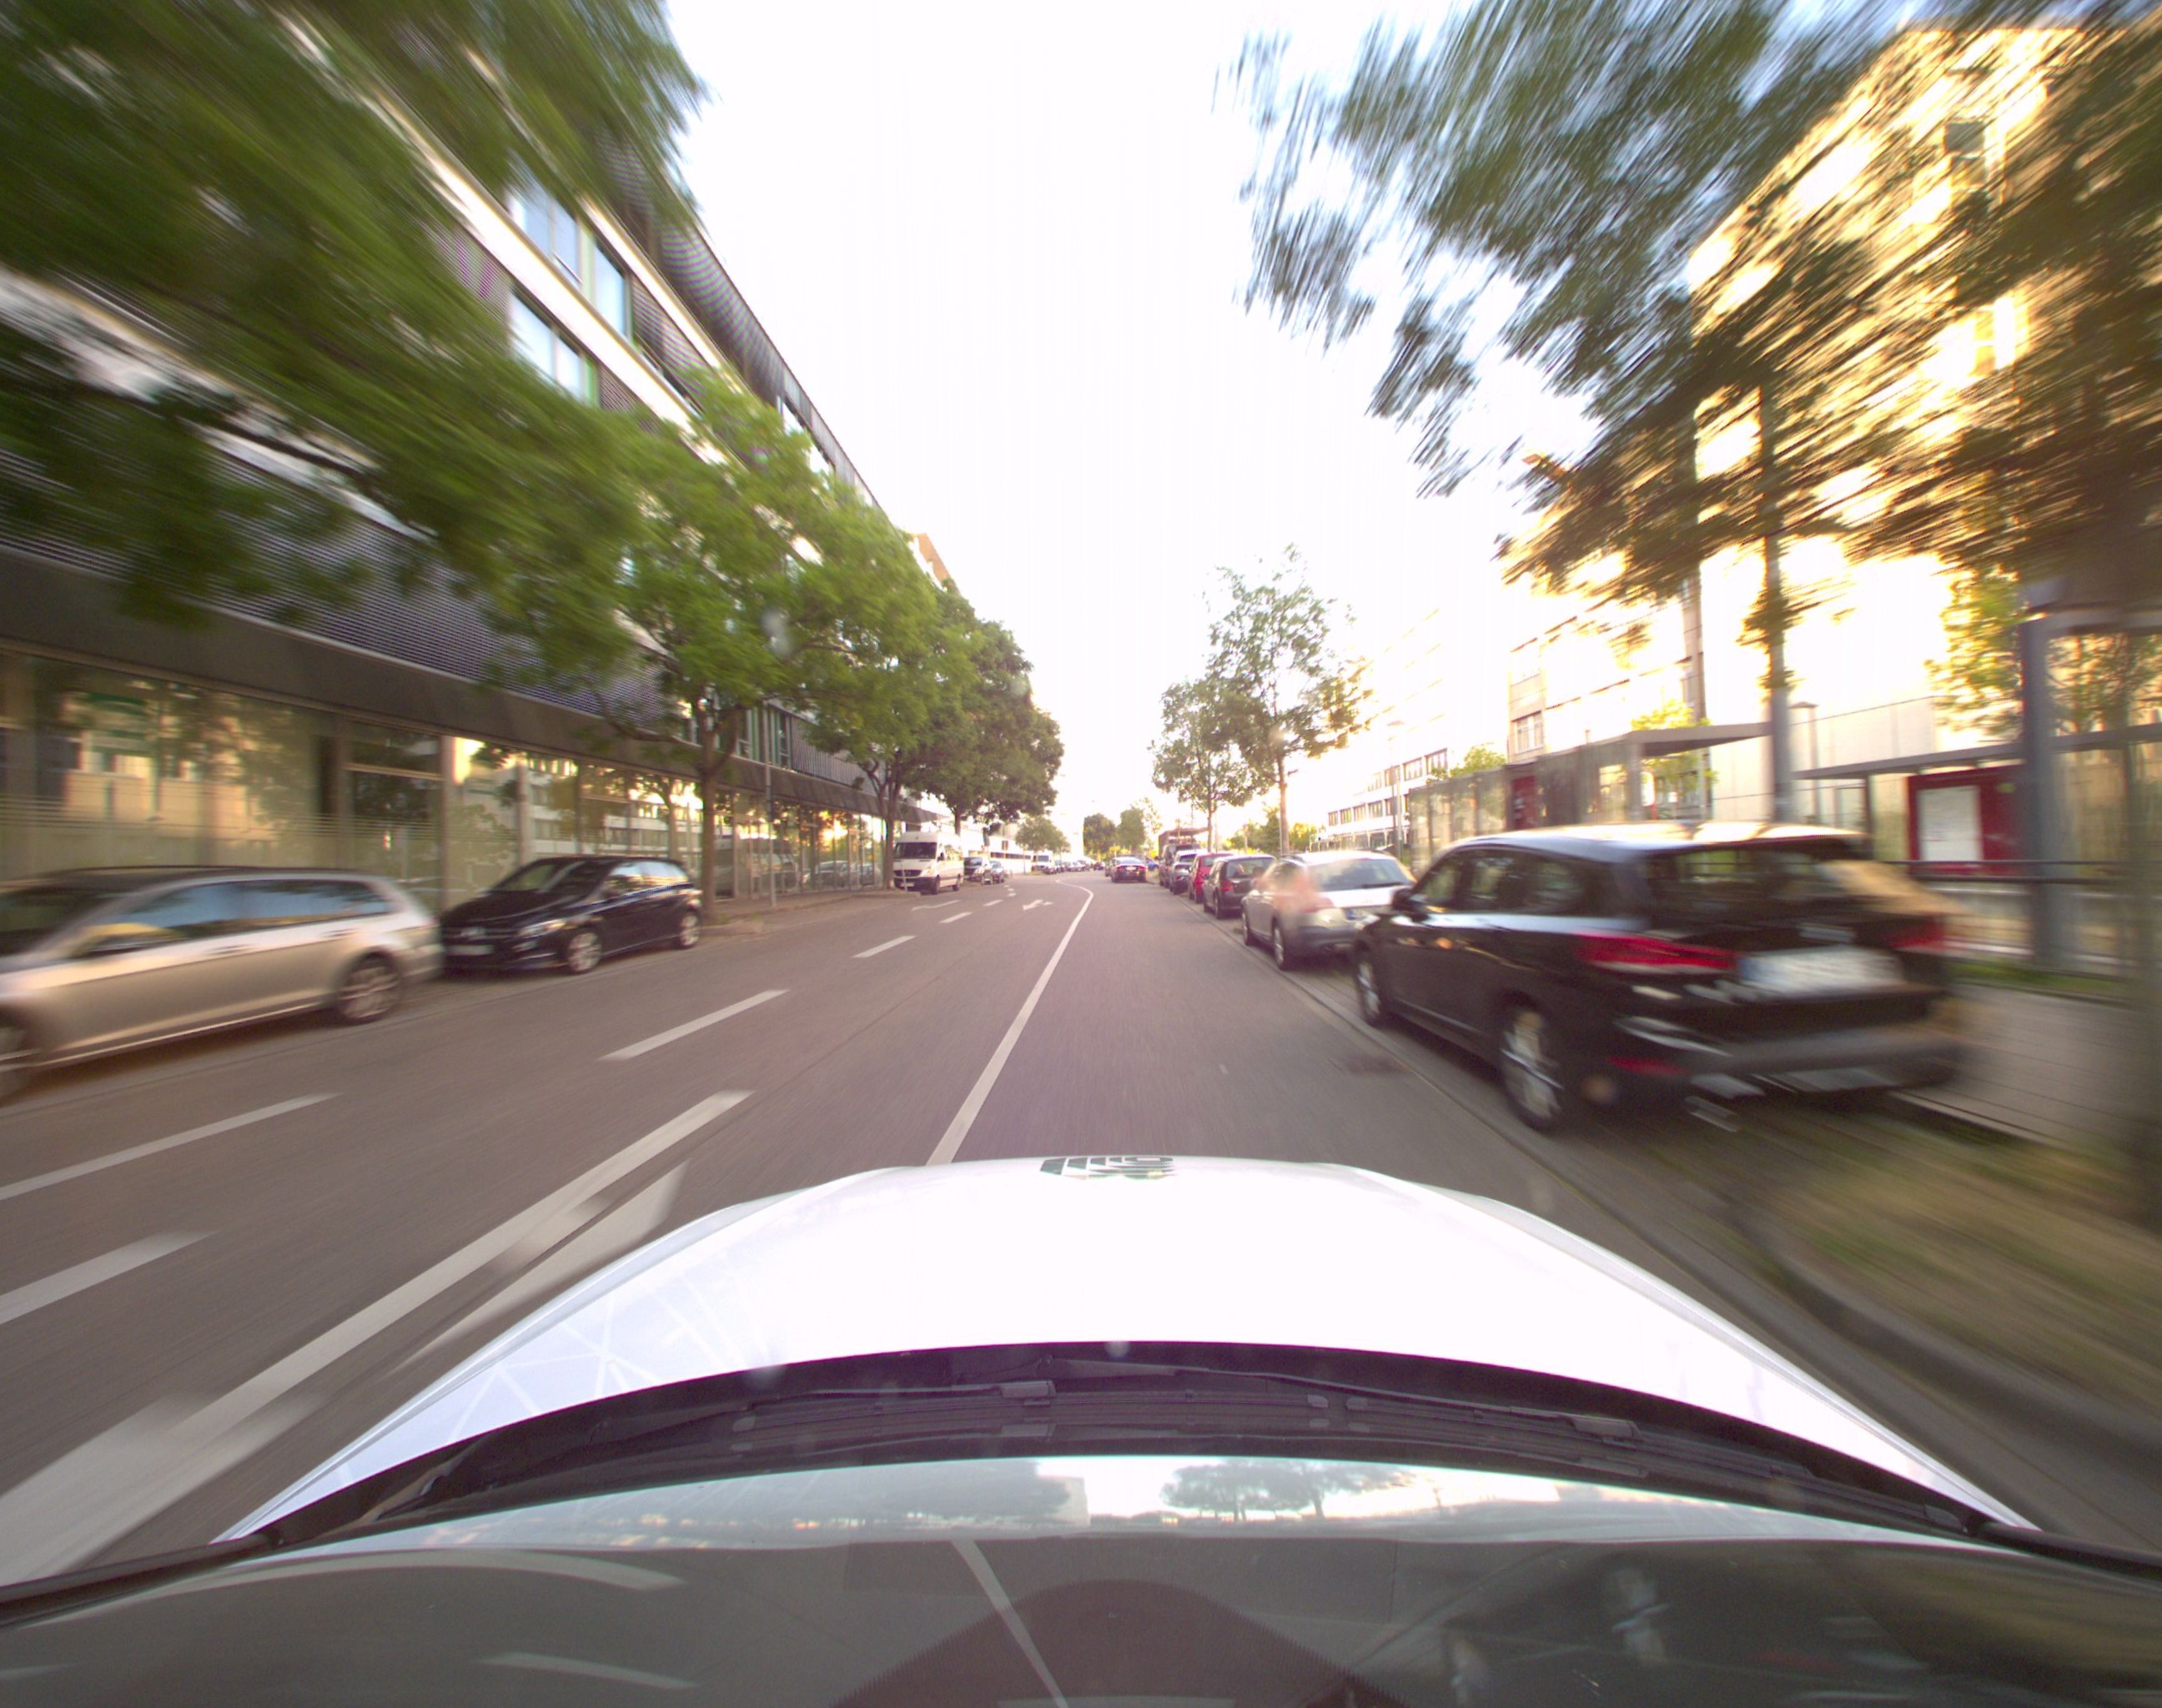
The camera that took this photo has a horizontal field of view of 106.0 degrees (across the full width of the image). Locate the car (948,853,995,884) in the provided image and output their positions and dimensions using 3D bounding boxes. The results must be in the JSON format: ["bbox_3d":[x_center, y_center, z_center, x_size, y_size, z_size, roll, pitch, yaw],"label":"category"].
[{"bbox_3d":[-5.987,0.756,45.013,1.837,1.571,4.270,-2,0,2],"label":"car"}]

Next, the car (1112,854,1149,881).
[{"bbox_3d":[2.822,0.771,47.539,1.782,1.452,4.513,-2,0,-1],"label":"car"}]

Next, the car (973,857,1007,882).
[{"bbox_3d":[-5.612,0.955,50.724,1.710,1.452,4.395,-2,0,-2],"label":"car"}]

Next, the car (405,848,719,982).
[{"bbox_3d":[-7.202,0.735,11.981,1.583,1.568,4.473,1,0,2],"label":"car"}]

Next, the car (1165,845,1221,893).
[{"bbox_3d":[4.229,0.551,31.281,1.700,1.580,4.483,-4,-1,3],"label":"car"}]

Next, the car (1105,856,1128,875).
[{"bbox_3d":[2.800,0.944,65.352,1.725,1.466,3.999,0,-1,0],"label":"car"}]

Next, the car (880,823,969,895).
[{"bbox_3d":[-6.429,0.199,34.451,2.092,2.664,6.955,-2,0,2],"label":"car"}]

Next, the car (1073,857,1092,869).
[{"bbox_3d":[0.216,1.352,127.470,1.743,1.798,4.483,0,0,18],"label":"car"}]

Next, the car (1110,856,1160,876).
[{"bbox_3d":[4.733,1.009,71.067,4.015,1.520,1.908,-2,-2,-33],"label":"car"}]

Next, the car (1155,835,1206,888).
[{"bbox_3d":[4.514,0.335,37.545,1.797,2.176,4.737,-4,-1,1],"label":"car"}]

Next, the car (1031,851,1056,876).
[{"bbox_3d":[-3.936,0.975,87.072,1.950,2.617,6.899,0,0,4],"label":"car"}]

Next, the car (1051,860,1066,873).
[{"bbox_3d":[-3.019,1.635,108.189,1.749,1.653,3.950,0,0,2],"label":"car"}]

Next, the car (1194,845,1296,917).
[{"bbox_3d":[3.867,0.606,19.799,1.701,1.451,4.001,-4,-1,1],"label":"car"}]

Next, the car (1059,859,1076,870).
[{"bbox_3d":[-1.906,1.512,116.673,1.712,1.457,4.282,0,0,9],"label":"car"}]

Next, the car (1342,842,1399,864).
[{"bbox_3d":[23.522,-0.048,66.292,3.971,1.487,1.676,-4,-1,2],"label":"car"}]

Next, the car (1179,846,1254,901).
[{"bbox_3d":[4.223,0.581,25.925,1.701,1.493,4.132,-4,-1,1],"label":"car"}]

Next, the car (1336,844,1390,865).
[{"bbox_3d":[23.815,0.035,68.859,3.971,1.487,1.676,-4,-1,2],"label":"car"}]

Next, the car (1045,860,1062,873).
[{"bbox_3d":[-3.438,1.586,102.135,1.749,1.561,4.046,0,0,3],"label":"car"}]

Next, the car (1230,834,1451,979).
[{"bbox_3d":[3.370,0.603,11.625,1.789,1.496,4.785,-5,0,3],"label":"car"}]

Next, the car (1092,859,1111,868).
[{"bbox_3d":[3.454,1.595,137.661,1.928,1.382,4.420,0,0,19],"label":"car"}]

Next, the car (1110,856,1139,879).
[{"bbox_3d":[2.818,0.865,53.505,1.671,1.452,4.186,-2,-1,-1],"label":"car"}]

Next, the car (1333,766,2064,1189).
[{"bbox_3d":[3.202,0.525,5.499,1.701,1.643,4.268,-4,-1,1],"label":"car"}]

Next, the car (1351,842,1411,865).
[{"bbox_3d":[23.514,-0.059,63.919,3.971,1.487,1.676,-4,-1,2],"label":"car"}]

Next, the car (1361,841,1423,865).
[{"bbox_3d":[23.447,-0.092,61.513,3.971,1.487,1.676,-4,-1,2],"label":"car"}]

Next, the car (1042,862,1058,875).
[{"bbox_3d":[-3.556,1.630,93.584,1.751,1.439,3.898,0,0,-2],"label":"car"}]

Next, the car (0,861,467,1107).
[{"bbox_3d":[-7.502,0.824,6.386,1.697,1.461,4.629,1,0,2],"label":"car"}]
